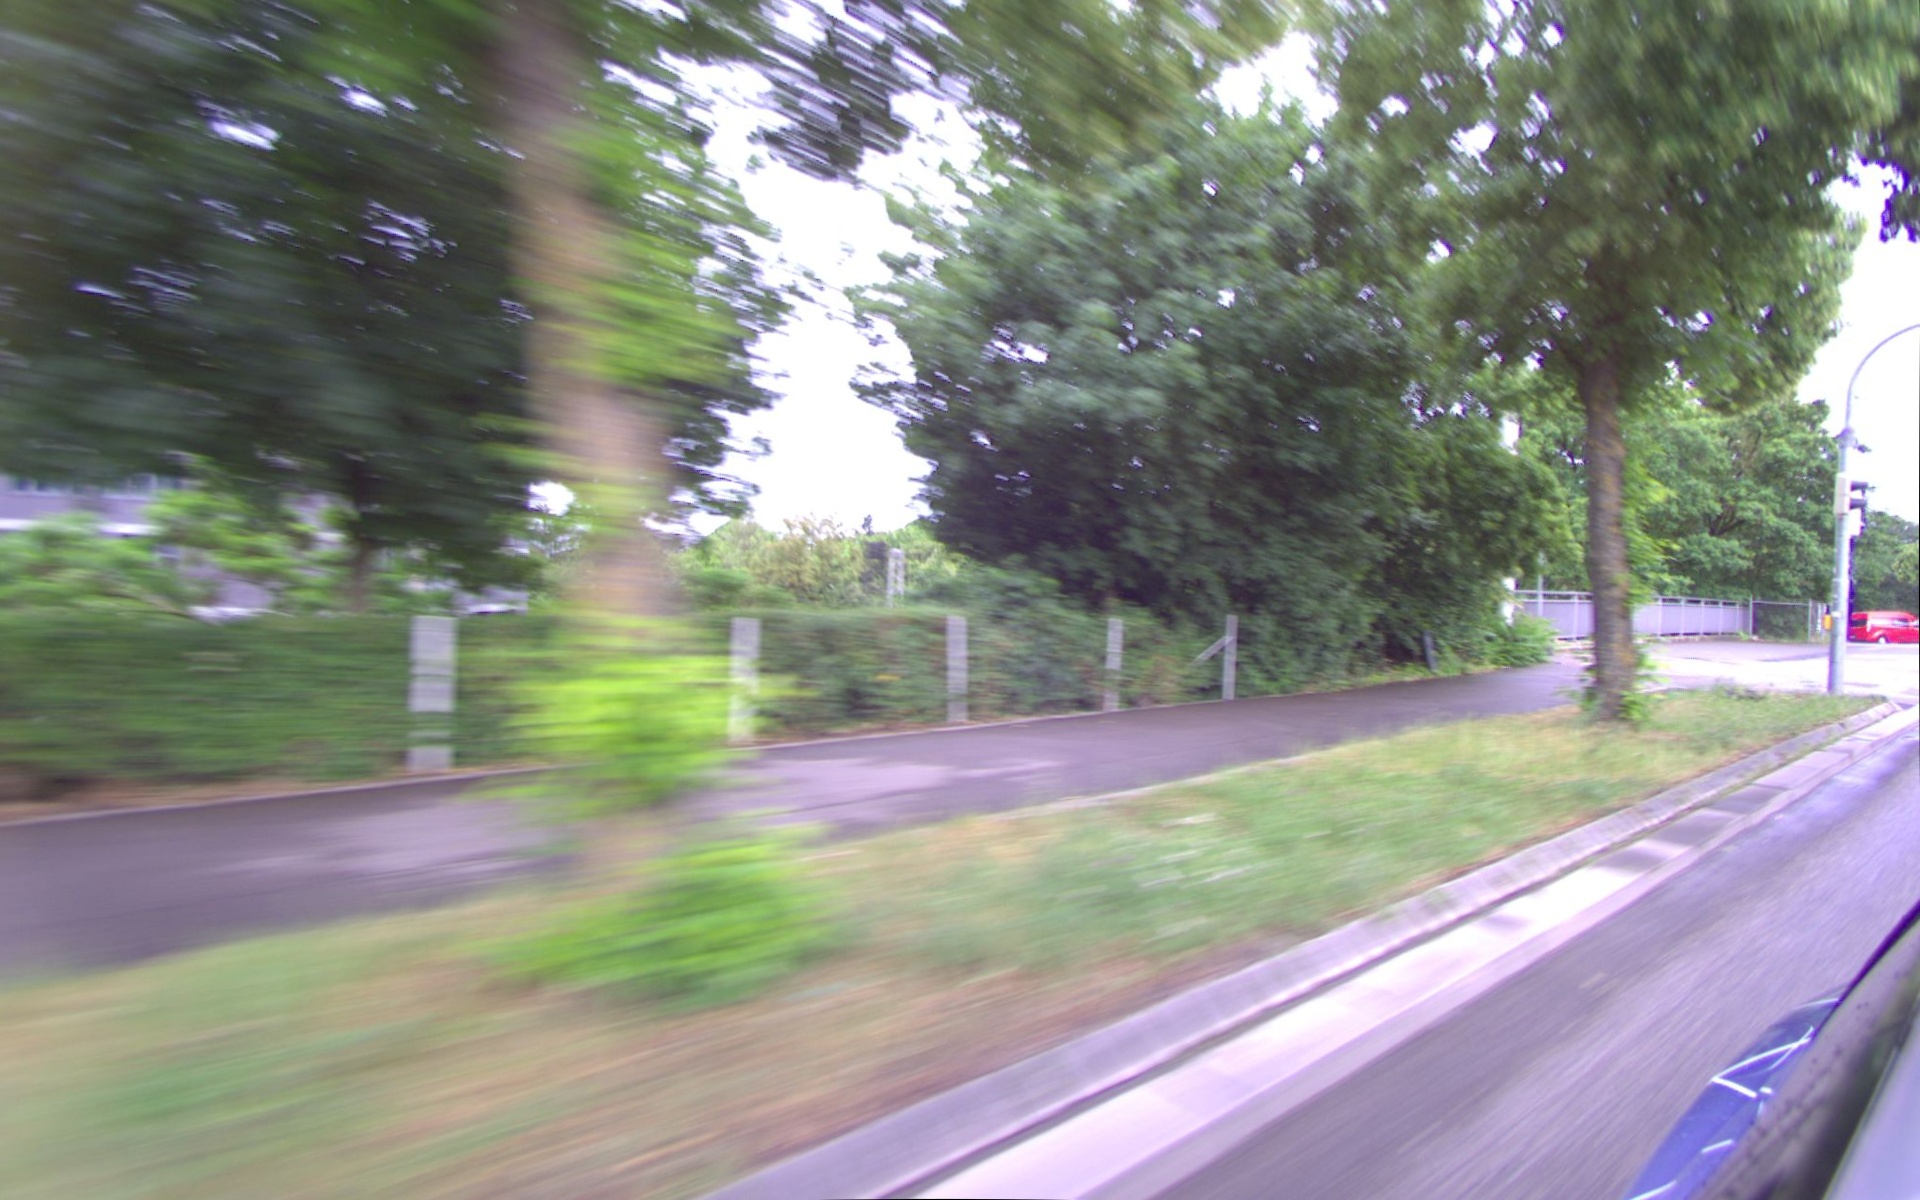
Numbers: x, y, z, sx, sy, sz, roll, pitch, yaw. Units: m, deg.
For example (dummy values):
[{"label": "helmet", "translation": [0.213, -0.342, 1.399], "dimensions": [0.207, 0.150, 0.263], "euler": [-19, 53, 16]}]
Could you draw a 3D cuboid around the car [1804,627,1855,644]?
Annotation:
[{"label": "car", "translation": [87.455, 3.551, 101.839], "dimensions": [1.855, 1.533, 3.801], "euler": [1, 1, 4]}]

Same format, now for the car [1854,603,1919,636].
[{"label": "car", "translation": [65.971, 1.396, 70.762], "dimensions": [4.938, 2.220, 1.999], "euler": [1, 0, 2]}]
